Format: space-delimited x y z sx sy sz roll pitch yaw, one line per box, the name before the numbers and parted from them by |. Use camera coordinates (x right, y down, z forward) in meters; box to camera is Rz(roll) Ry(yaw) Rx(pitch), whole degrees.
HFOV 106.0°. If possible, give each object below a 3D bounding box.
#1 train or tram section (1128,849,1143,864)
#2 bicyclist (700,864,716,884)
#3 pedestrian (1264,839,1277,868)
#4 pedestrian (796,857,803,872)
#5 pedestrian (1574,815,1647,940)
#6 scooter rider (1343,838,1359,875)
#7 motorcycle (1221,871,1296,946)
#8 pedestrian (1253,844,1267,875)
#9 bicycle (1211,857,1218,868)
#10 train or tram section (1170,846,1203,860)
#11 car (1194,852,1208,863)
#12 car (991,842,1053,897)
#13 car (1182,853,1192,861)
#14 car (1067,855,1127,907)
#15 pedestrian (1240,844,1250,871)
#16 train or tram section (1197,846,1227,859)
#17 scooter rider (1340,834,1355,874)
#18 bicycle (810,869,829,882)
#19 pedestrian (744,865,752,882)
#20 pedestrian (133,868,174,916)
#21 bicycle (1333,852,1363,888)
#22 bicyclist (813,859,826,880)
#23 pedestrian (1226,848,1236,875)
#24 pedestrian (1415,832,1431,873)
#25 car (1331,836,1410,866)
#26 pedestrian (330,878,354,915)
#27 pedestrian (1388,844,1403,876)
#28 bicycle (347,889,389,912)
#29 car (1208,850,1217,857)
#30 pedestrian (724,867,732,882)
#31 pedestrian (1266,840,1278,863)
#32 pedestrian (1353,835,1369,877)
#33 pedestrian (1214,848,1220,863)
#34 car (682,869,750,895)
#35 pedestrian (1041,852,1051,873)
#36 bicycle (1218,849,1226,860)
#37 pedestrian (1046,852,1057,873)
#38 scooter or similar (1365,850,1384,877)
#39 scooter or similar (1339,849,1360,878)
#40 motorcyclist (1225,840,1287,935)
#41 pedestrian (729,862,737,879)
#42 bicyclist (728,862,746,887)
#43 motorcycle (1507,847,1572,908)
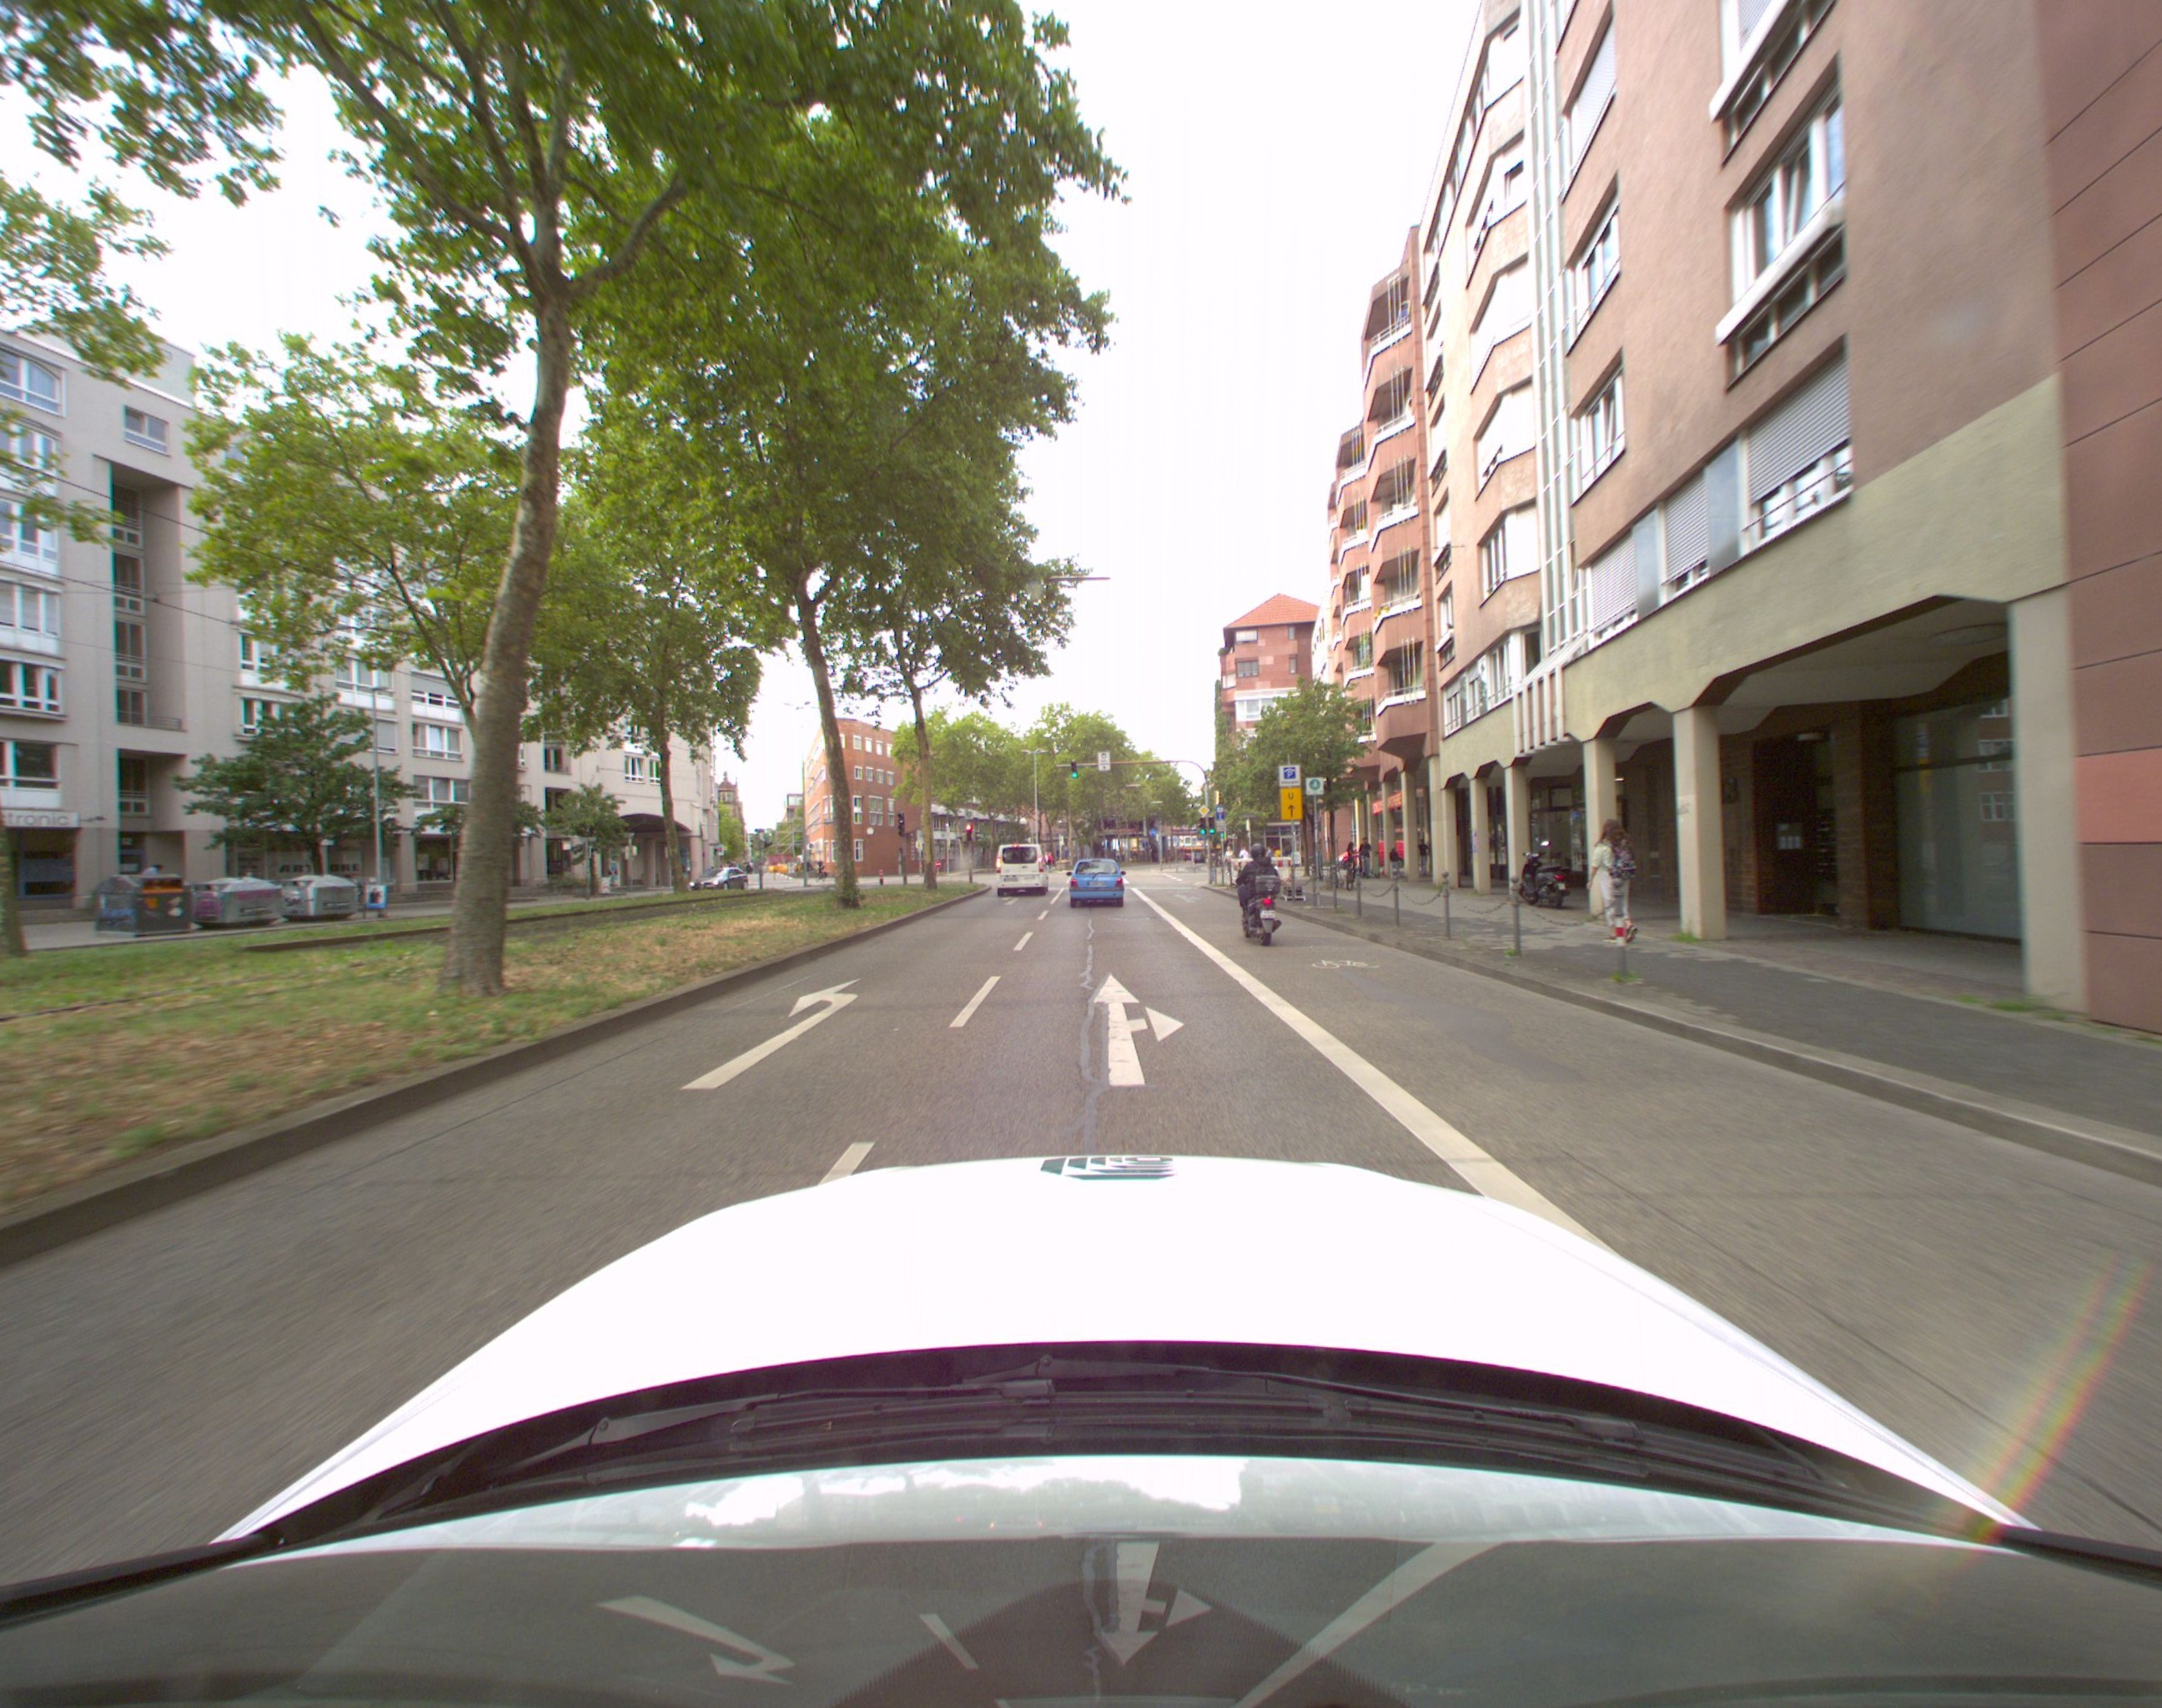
train or tram section | 12.117 0.566 179.852 2.375 3.254 8.841 -2 -1 9
bicyclist | -30.671 1.645 67.001 1.039 1.562 0.576 -2 -1 -36
pedestrian | 11.655 -0.041 50.029 0.648 1.701 1.024 -2 0 9
pedestrian | -35.284 1.362 101.978 0.696 1.817 0.650 -2 -1 -26
pedestrian | 7.286 0.308 11.238 0.540 1.650 0.828 -2 0 12
scooter rider | 11.700 0.105 35.294 0.458 1.557 0.565 -2 0 4
motorcycle | 2.965 0.882 13.859 0.765 1.107 2.208 -3 -1 0
pedestrian | 10.993 0.326 49.975 0.672 1.828 0.852 -2 0 7
bicycle | 12.726 0.786 77.679 0.614 1.008 1.738 -2 0 6
train or tram section | 27.443 -0.276 211.689 8.847 3.254 2.373 -2 -1 -31
car | 18.939 0.589 128.408 1.687 1.601 4.014 -2 0 13
car | -2.244 0.553 32.263 1.925 1.925 4.956 -2 0 1
car | 24.271 0.721 186.142 1.873 1.624 4.014 -2 0 13
car | 0.497 0.764 24.864 1.635 1.386 3.844 -2 0 1
pedestrian | 9.934 0.193 49.367 0.514 1.616 0.852 -2 0 7
train or tram section | 34.774 -0.385 216.129 8.387 3.254 2.373 -2 -1 -31
scooter rider | 11.741 0.010 35.885 0.461 1.720 0.553 -2 0 2
bicycle | -23.290 1.886 72.574 0.674 1.093 2.213 -3 0 5
pedestrian | -38.437 2.277 93.938 0.793 1.963 0.799 -2 0 -24
pedestrian | -35.943 1.474 31.560 0.765 1.809 0.694 -2 0 10
bicycle | 8.766 0.517 26.803 0.609 1.118 1.808 -2 0 8
bicyclist | -23.300 1.395 72.654 0.663 1.848 1.083 -3 0 5
pedestrian | 9.120 0.456 49.525 0.514 1.616 0.852 -2 0 6
pedestrian | 15.473 -0.073 36.851 0.546 1.799 0.662 -2 -1 31
car | 19.649 -0.164 55.458 4.793 1.826 2.007 -2 -2 13
pedestrian | -31.297 1.784 34.487 0.510 1.530 0.535 -2 0 14
pedestrian | 13.184 0.266 34.155 0.483 1.324 0.487 -2 0 15
bicycle | -30.064 1.962 34.354 1.616 0.943 0.442 -2 0 12
car | 29.903 -0.141 184.554 1.687 1.601 4.014 -2 0 13
pedestrian | -48.107 2.752 111.048 0.867 2.013 1.333 -2 0 -24
pedestrian | 12.658 -0.170 53.943 0.672 1.538 0.949 -2 0 8
pedestrian | 12.306 0.091 35.806 0.548 1.799 0.660 -2 0 12
pedestrian | 18.053 0.207 108.020 0.642 1.859 0.785 -2 0 11
car | -20.644 1.564 46.277 1.724 1.245 4.534 -2 0 0
pedestrian | -3.018 0.736 70.100 0.548 1.718 0.895 -2 -1 18
bicycle | 13.329 0.013 76.971 0.614 1.008 1.738 -2 0 6
pedestrian | -2.582 0.736 71.011 0.547 1.718 0.896 -2 -1 27
scooter or similar | 12.957 0.400 35.982 0.550 1.170 1.410 -2 0 10
scooter or similar | 11.736 0.402 35.610 0.472 1.206 1.331 -2 0 3
motorcyclist | 2.944 0.552 13.771 0.757 1.519 1.017 -3 -1 0
pedestrian | -34.827 1.665 81.499 0.677 1.679 0.746 -2 0 -27
bicyclist | -23.555 1.395 55.750 0.685 1.672 0.956 -2 0 10
motorcycle | 9.690 0.468 17.286 0.612 1.156 1.910 -4 0 12
